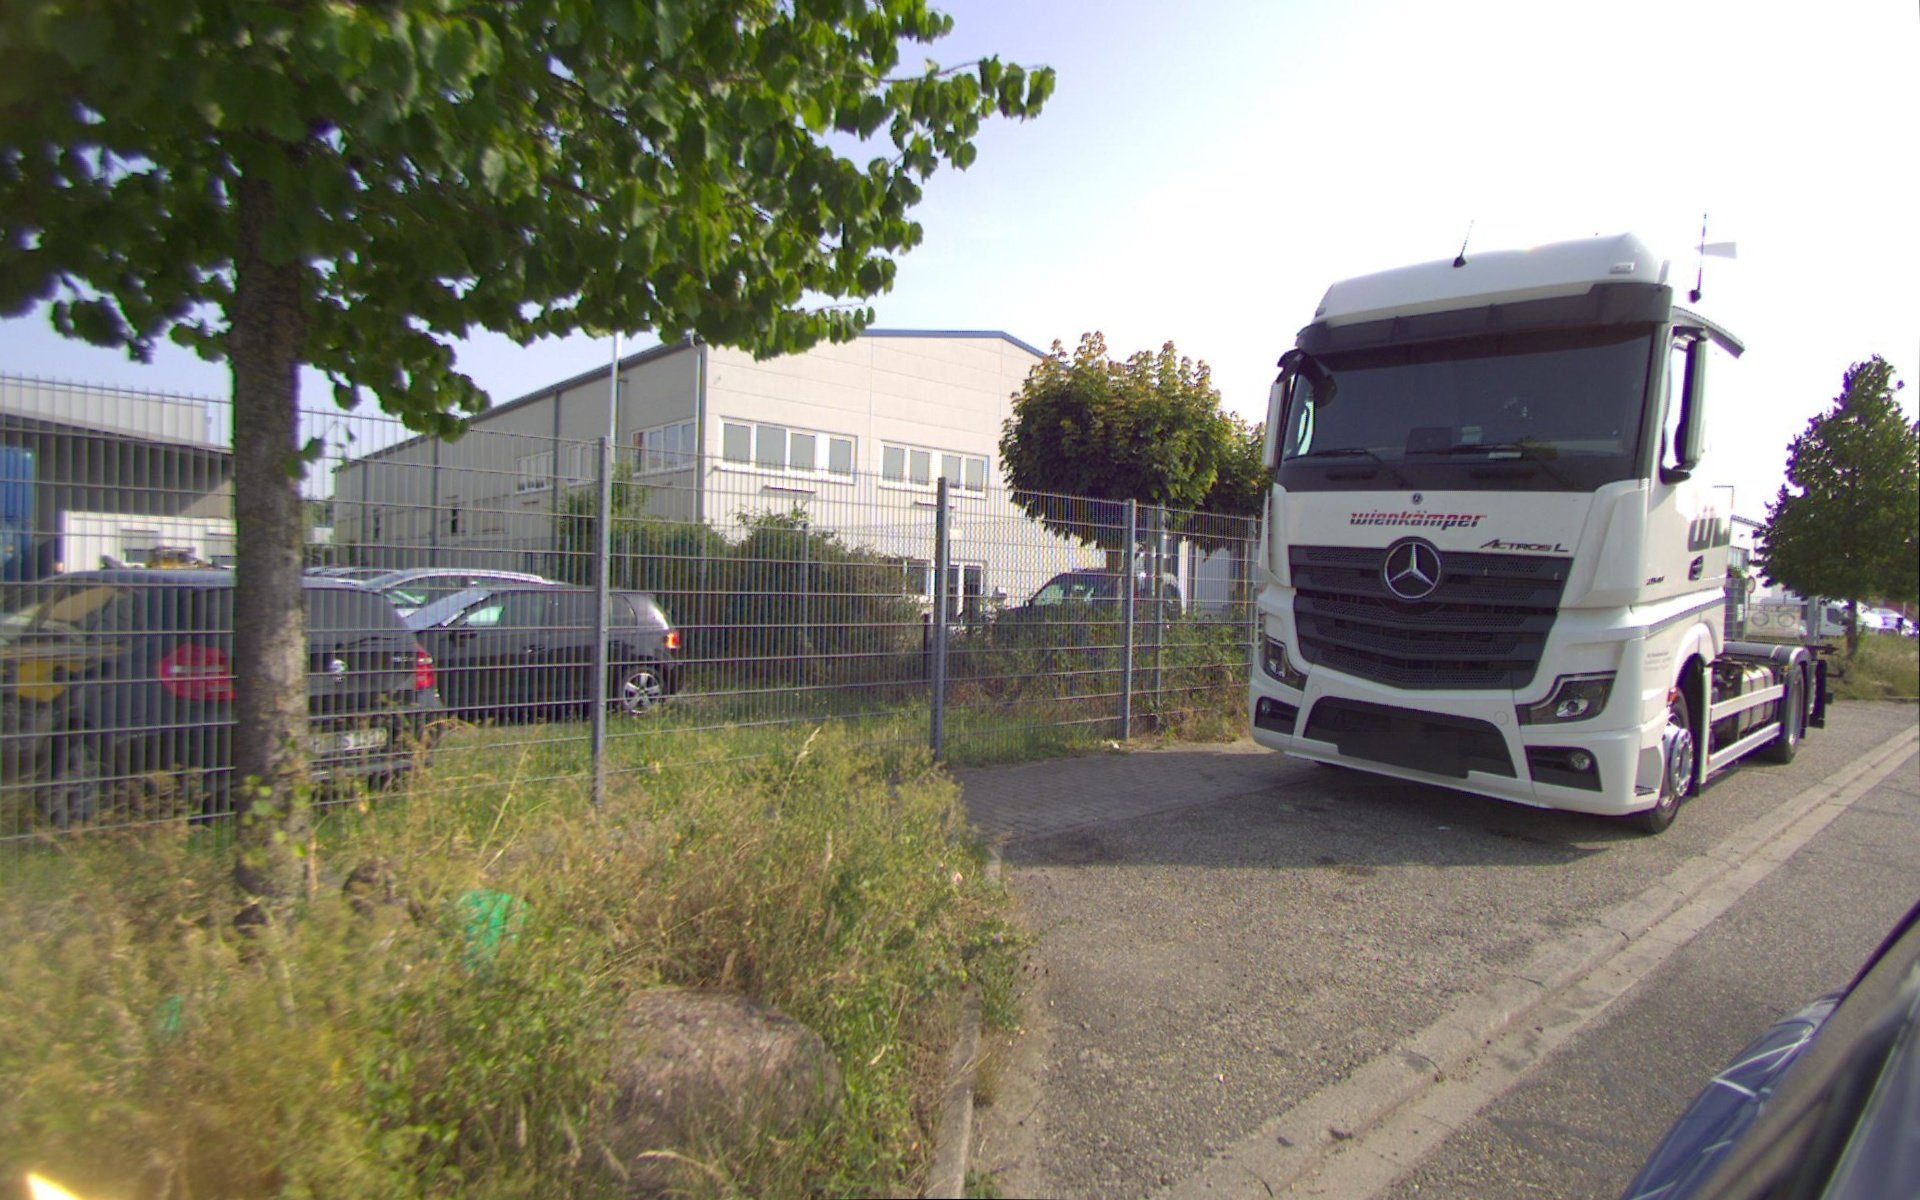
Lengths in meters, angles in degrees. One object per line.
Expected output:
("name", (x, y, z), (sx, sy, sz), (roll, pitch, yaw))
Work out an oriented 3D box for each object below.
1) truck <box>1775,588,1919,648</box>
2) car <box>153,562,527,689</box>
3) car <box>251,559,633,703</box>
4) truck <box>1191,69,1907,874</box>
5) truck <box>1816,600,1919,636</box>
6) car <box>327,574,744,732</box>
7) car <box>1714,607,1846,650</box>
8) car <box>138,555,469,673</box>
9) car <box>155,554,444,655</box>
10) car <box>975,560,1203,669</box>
("truck", (42.761, 0.770, 48.142), (2.229, 2.562, 6.223), (2, 1, -9))
("car", (-8.870, 0.320, 14.744), (1.889, 1.576, 4.301), (2, 1, 43))
("car", (-6.617, 0.338, 13.224), (1.889, 1.576, 4.036), (2, 1, 44))
("truck", (6.190, -0.650, 9.356), (9.519, 4.064, 2.751), (1, 3, -42))
("truck", (57.746, 1.118, 63.868), (2.230, 2.047, 5.837), (2, 1, -4))
("car", (-4.656, 0.493, 11.357), (3.929, 1.450, 1.889), (1, 1, -40))
("car", (33.239, 1.133, 41.186), (1.860, 1.516, 4.005), (2, 1, -6))
("car", (-10.812, 0.210, 16.884), (1.889, 1.712, 4.301), (2, 0, 43))
("car", (-12.493, 0.086, 19.341), (1.889, 1.712, 4.301), (2, 0, 43))
("car", (2.382, 0.205, 19.441), (1.879, 1.858, 4.096), (1, 1, -42))
